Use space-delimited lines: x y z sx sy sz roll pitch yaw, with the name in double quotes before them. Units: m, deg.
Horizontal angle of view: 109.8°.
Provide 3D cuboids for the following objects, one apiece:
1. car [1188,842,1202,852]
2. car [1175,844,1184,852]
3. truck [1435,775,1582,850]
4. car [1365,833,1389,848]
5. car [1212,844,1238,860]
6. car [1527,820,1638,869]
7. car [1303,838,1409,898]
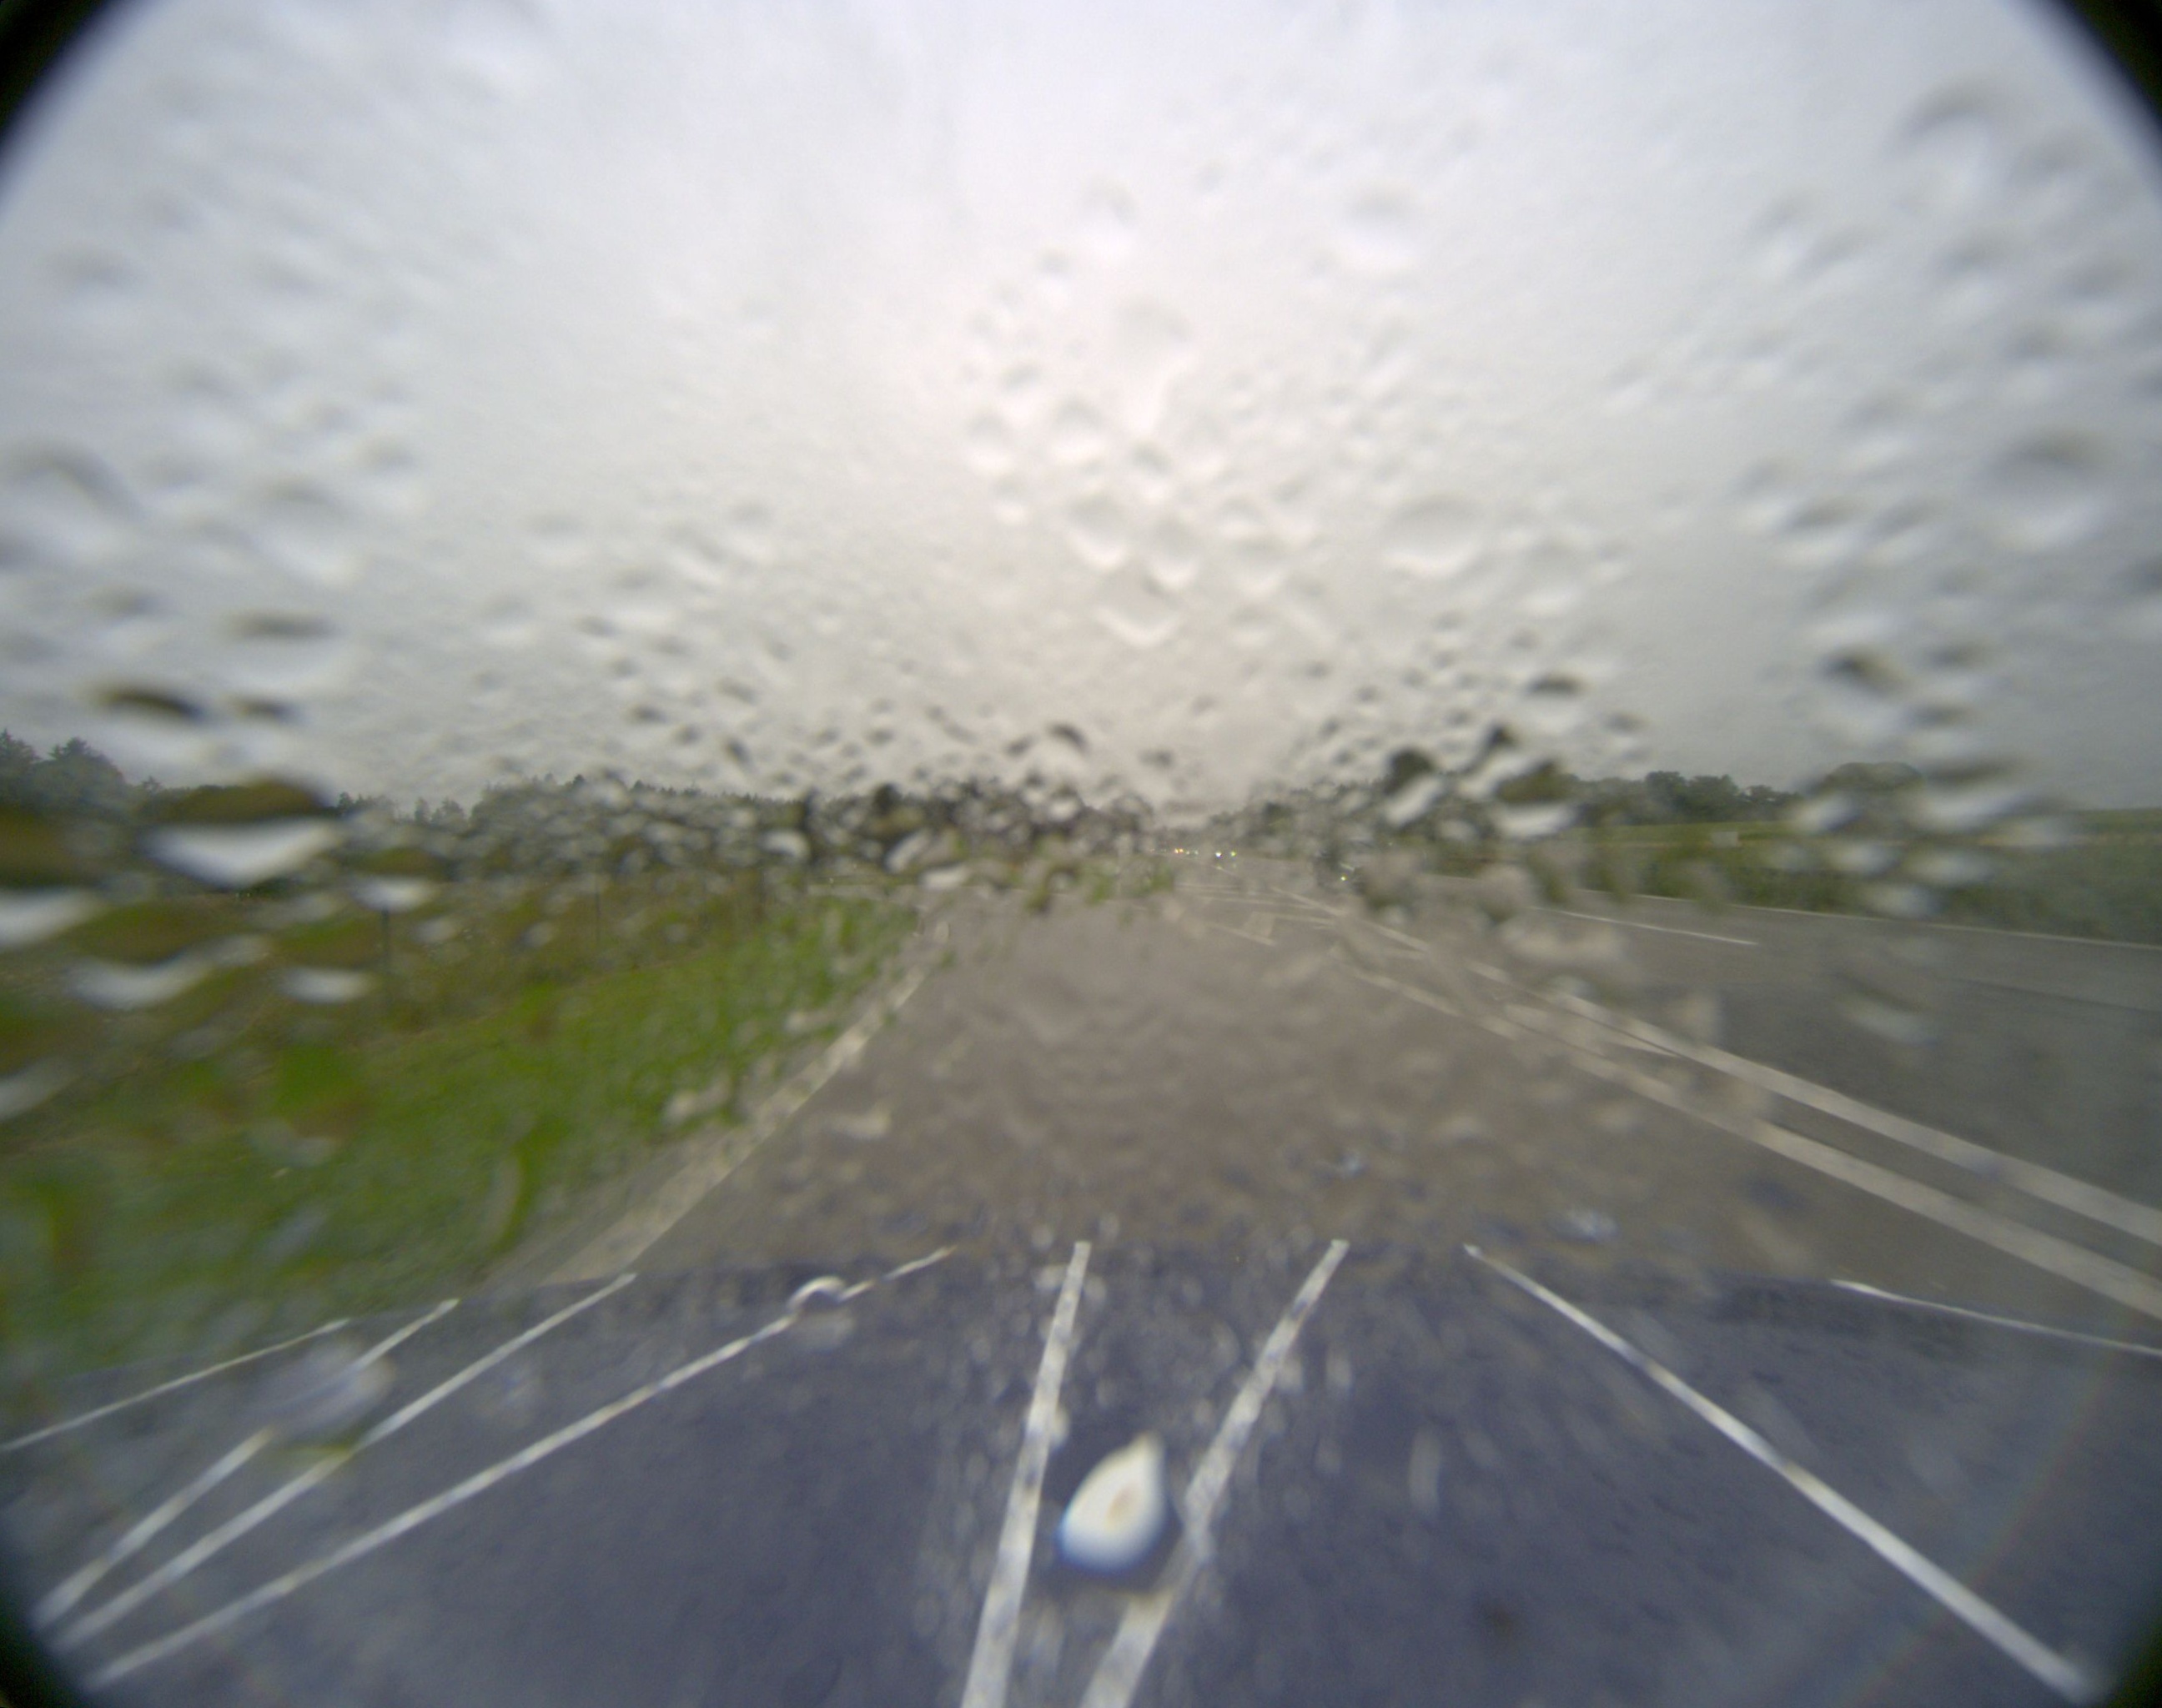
"car" 19.682 -1.265 131.285 2.149 1.627 4.597 -1 1 7
"car" 25.579 -1.490 196.862 1.997 2.001 4.644 0 -1 10
"truck" 27.135 -2.435 49.398 3.200 3.943 13.819 -4 0 7
"car" 38.145 -1.712 97.971 1.733 1.726 4.001 -3 0 3
"car" 13.959 -0.229 73.831 2.097 1.445 4.597 -1 1 7
"car" 21.443 -0.424 32.749 2.109 1.865 4.533 -3 1 7
"car" 8.424 0.355 23.778 1.866 1.625 5.103 -2 1 5
